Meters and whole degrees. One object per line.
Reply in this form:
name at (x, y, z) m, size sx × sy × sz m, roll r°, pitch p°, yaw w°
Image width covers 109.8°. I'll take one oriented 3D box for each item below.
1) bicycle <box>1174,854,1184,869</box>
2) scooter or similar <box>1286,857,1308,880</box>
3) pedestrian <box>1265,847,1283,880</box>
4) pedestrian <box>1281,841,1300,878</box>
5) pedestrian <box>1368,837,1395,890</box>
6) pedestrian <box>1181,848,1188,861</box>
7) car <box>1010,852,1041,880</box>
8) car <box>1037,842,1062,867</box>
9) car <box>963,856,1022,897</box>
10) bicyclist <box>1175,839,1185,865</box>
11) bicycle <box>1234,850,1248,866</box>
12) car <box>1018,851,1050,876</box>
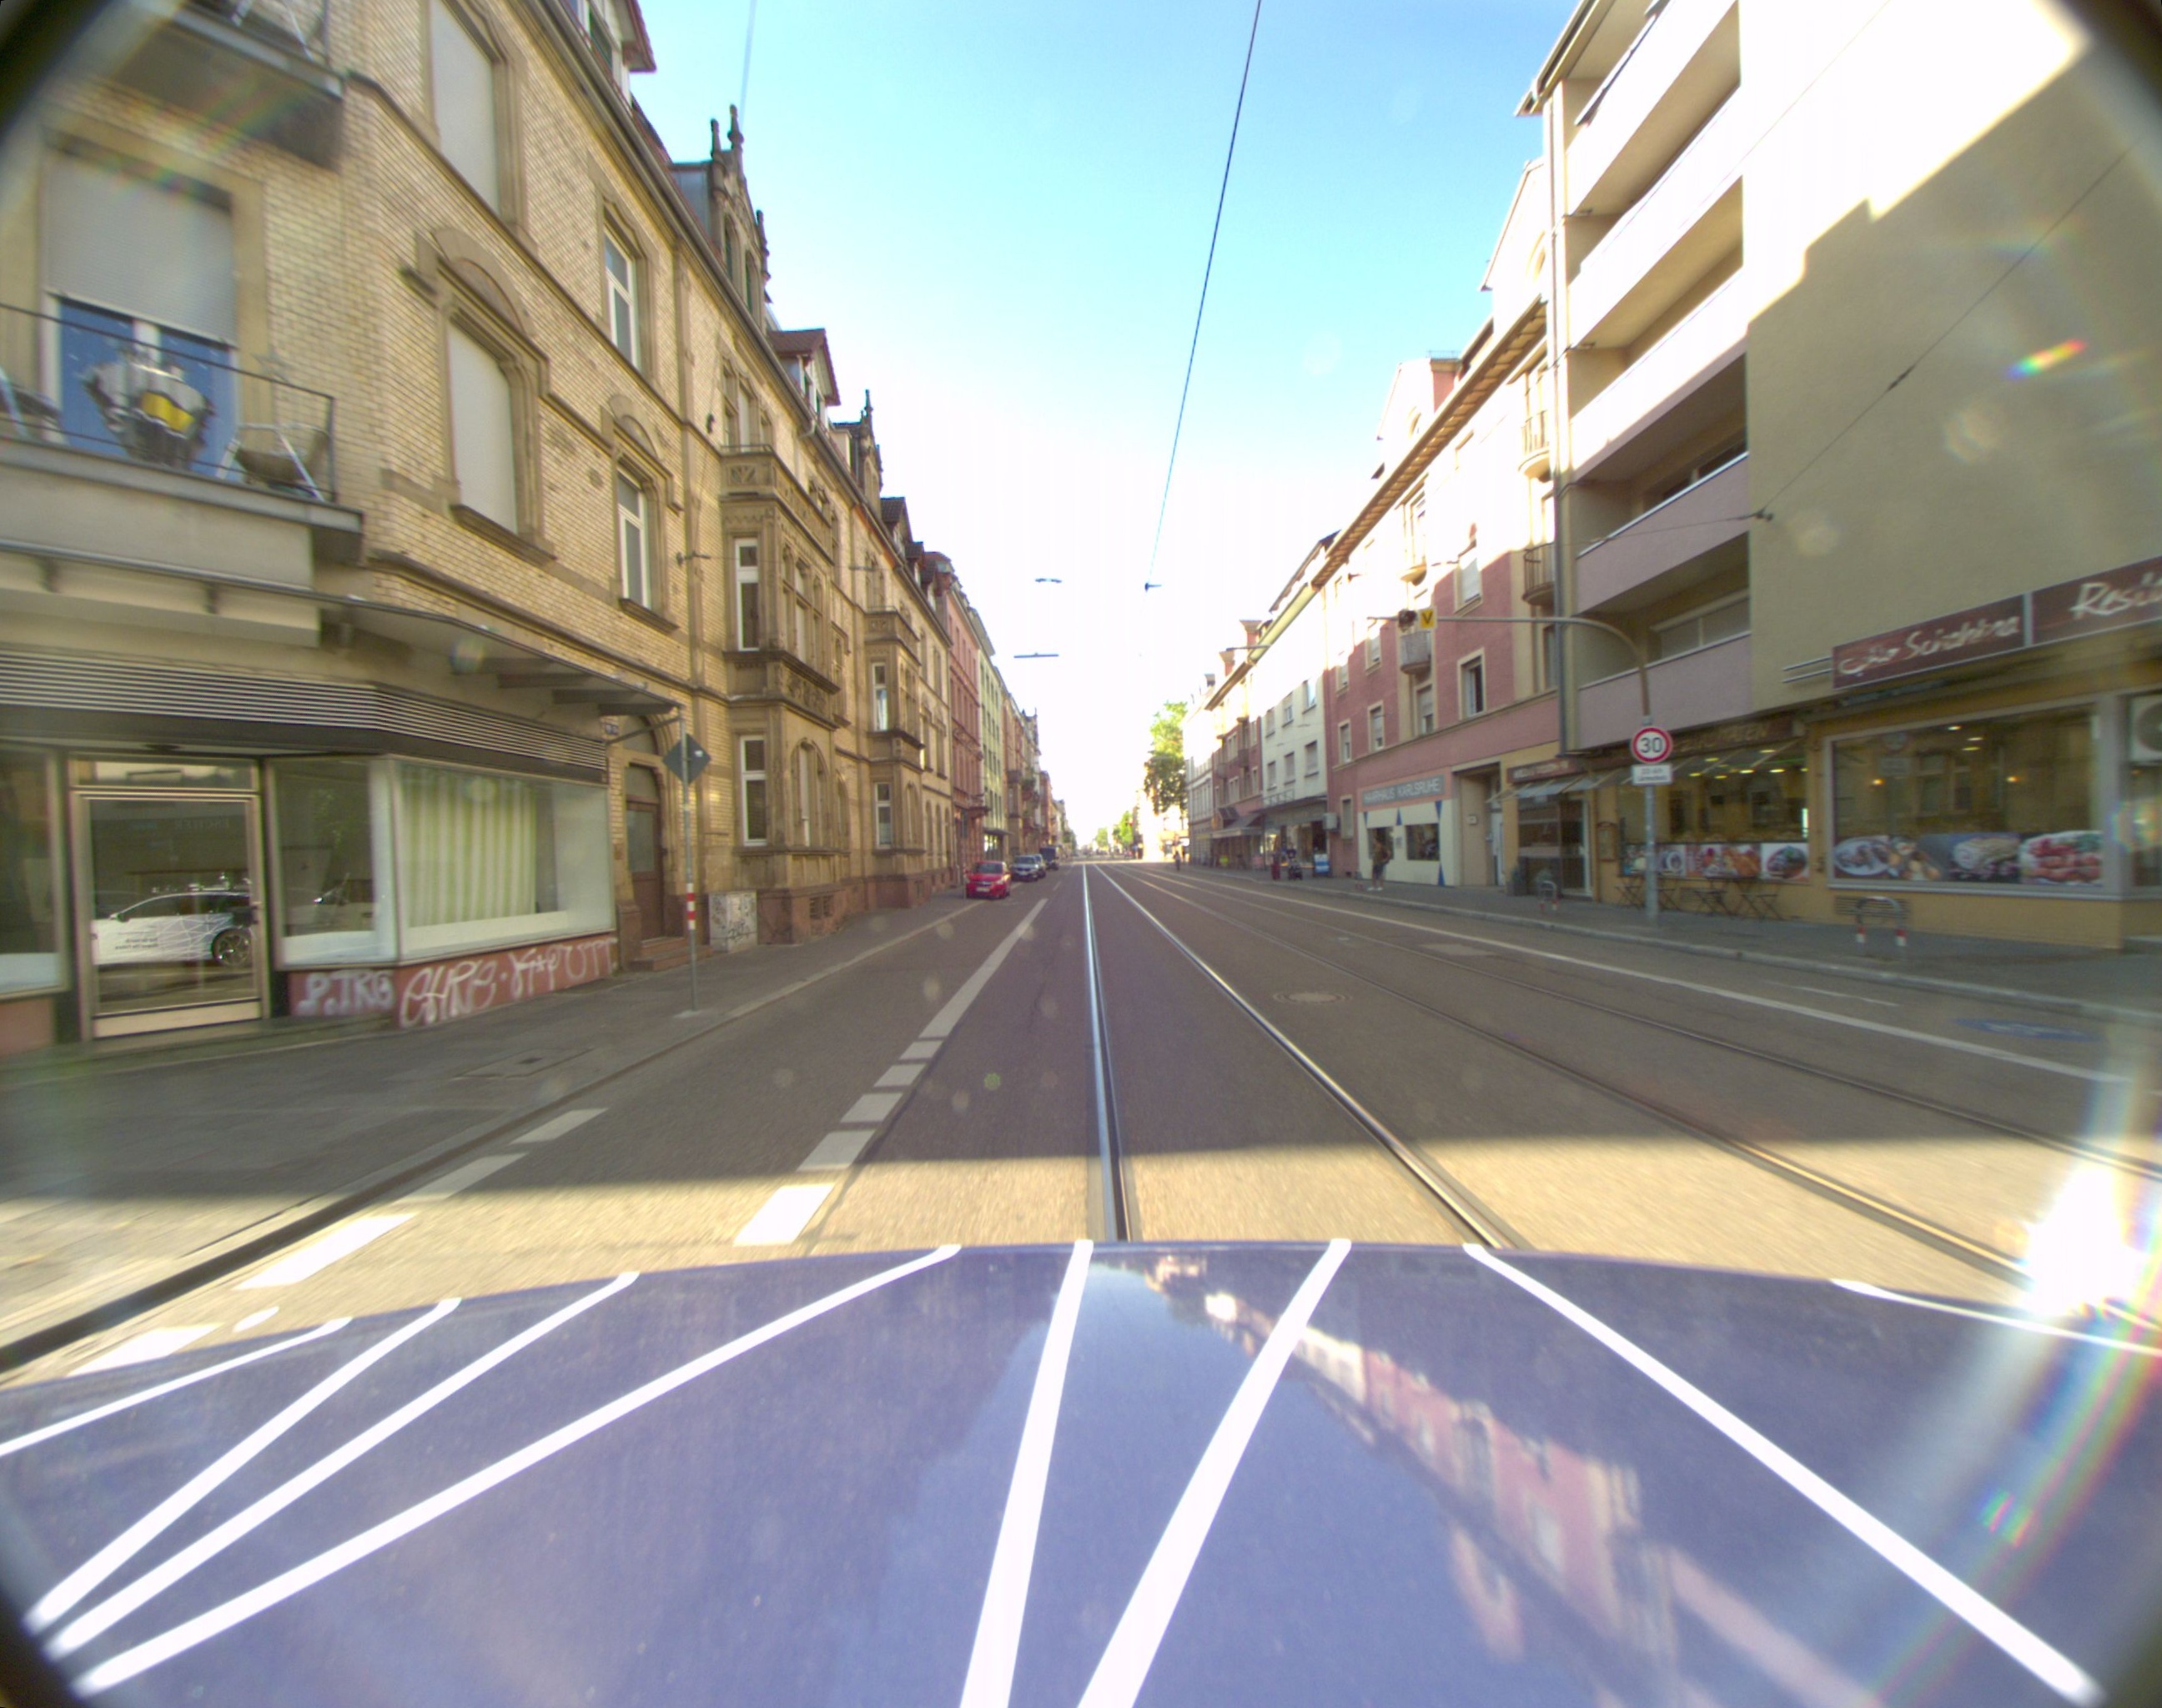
bicycle at (7.773, 0.575, 60.352) m, size 0.603 × 1.089 × 2.044 m, roll 0°, pitch 1°, yaw 1°
scooter or similar at (10.133, 0.665, 35.657) m, size 0.663 × 1.055 × 1.105 m, roll -3°, pitch 0°, yaw 1°
pedestrian at (9.210, 0.458, 36.308) m, size 0.637 × 1.540 × 0.623 m, roll -3°, pitch 1°, yaw 0°
pedestrian at (10.161, 0.265, 36.877) m, size 0.627 × 1.779 × 0.821 m, roll -3°, pitch 1°, yaw 0°
pedestrian at (9.632, 0.294, 24.369) m, size 0.564 × 1.676 × 0.616 m, roll -3°, pitch 1°, yaw -1°
pedestrian at (15.082, 0.055, 110.507) m, size 0.795 × 1.837 × 0.809 m, roll -3°, pitch 1°, yaw 3°
car at (-3.563, 0.735, 49.047) m, size 1.871 × 1.637 × 4.399 m, roll 1°, pitch 1°, yaw -4°
car at (-3.320, 0.051, 81.482) m, size 2.128 × 2.478 × 5.856 m, roll -3°, pitch 1°, yaw 2°
car at (-3.518, 0.866, 30.914) m, size 1.870 × 1.474 × 4.400 m, roll 1°, pitch 1°, yaw 0°
bicyclist at (7.794, -0.186, 60.086) m, size 0.613 × 2.002 × 0.733 m, roll -3°, pitch 1°, yaw 1°
bicycle at (11.283, 0.296, 53.690) m, size 0.425 × 1.053 × 2.329 m, roll -3°, pitch 1°, yaw 0°
car at (-3.337, 0.642, 54.653) m, size 1.998 × 1.606 × 4.785 m, roll 1°, pitch 1°, yaw 0°
